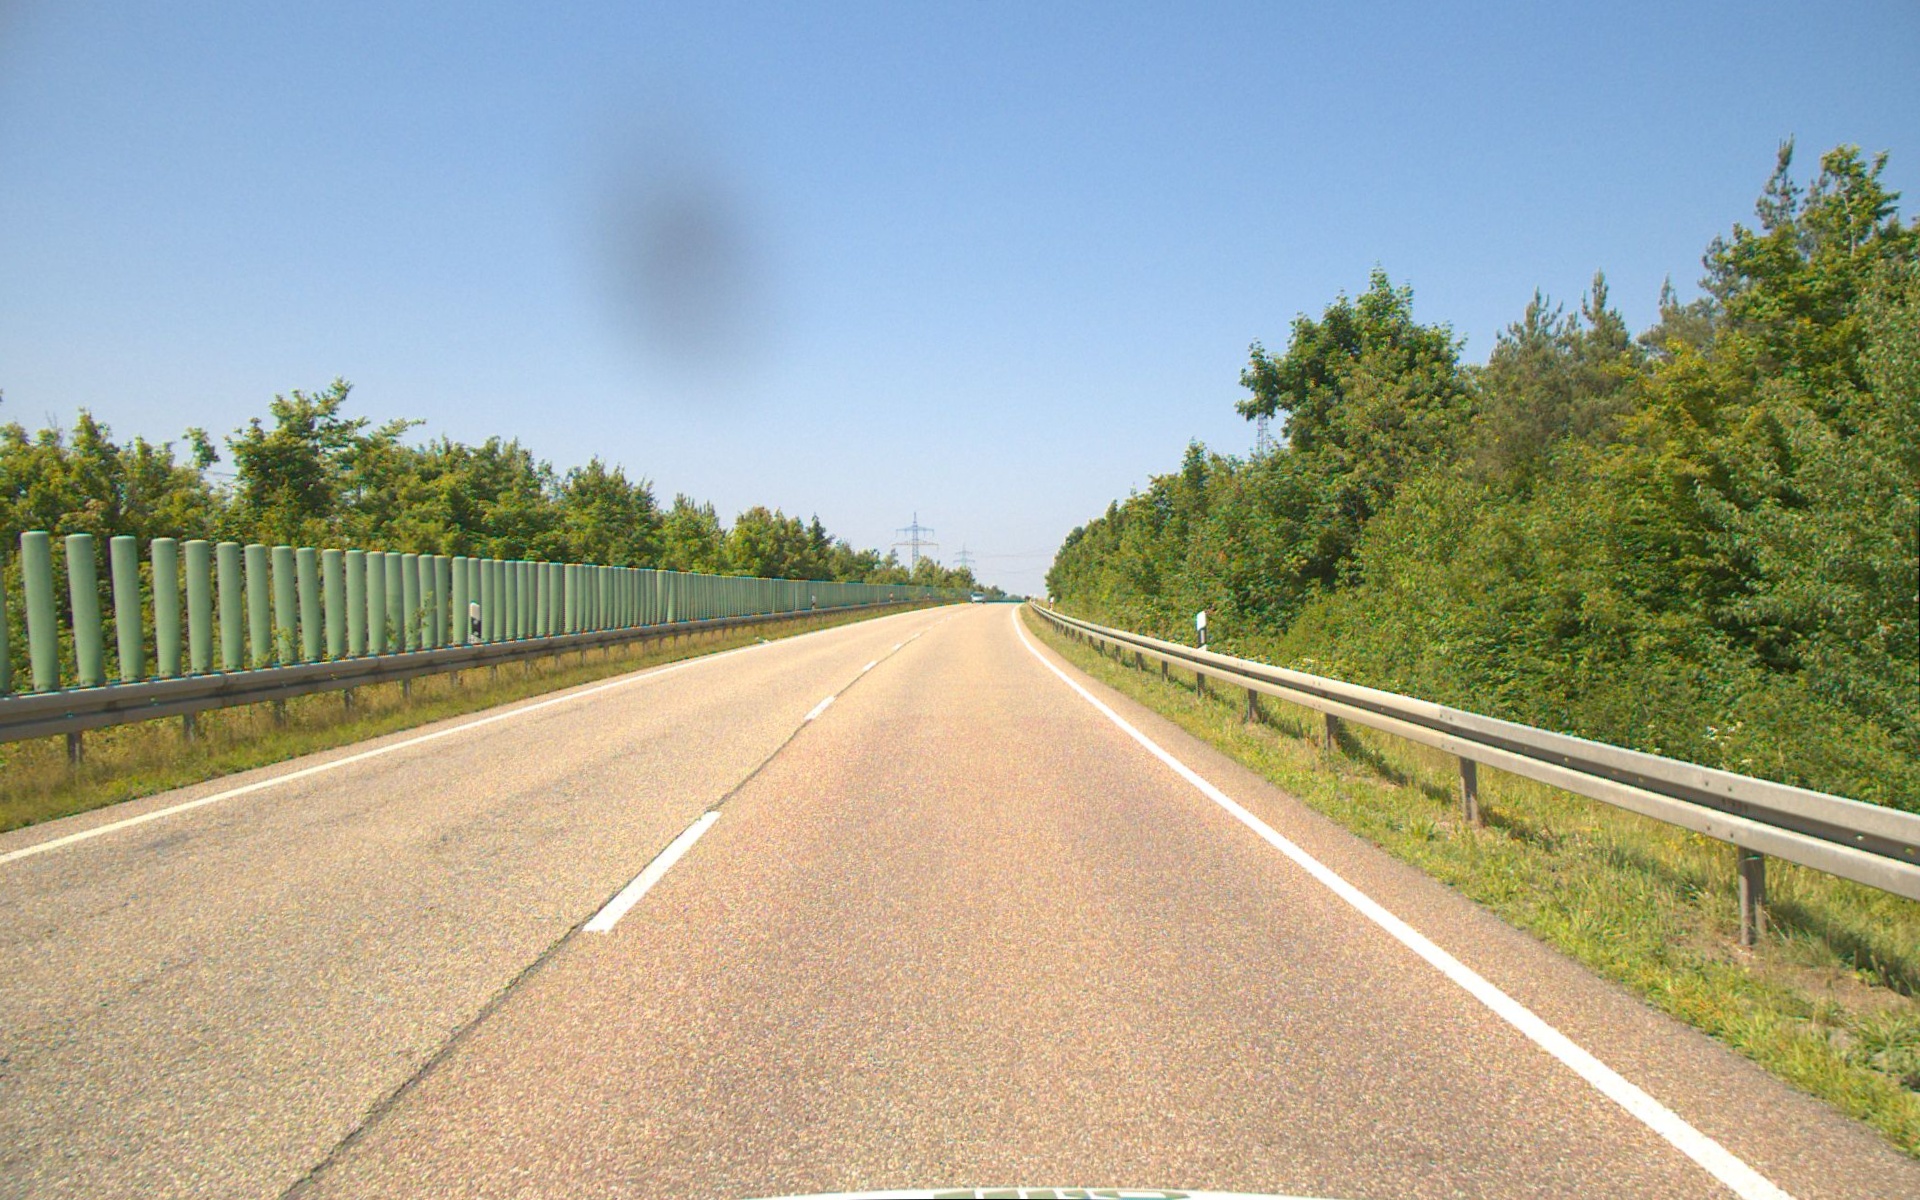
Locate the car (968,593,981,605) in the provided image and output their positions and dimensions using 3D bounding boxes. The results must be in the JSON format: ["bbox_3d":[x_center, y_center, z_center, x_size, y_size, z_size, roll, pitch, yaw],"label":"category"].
[{"bbox_3d":[1.923,-0.101,220.689,1.684,1.527,4.249,0,0,1],"label":"car"}]
